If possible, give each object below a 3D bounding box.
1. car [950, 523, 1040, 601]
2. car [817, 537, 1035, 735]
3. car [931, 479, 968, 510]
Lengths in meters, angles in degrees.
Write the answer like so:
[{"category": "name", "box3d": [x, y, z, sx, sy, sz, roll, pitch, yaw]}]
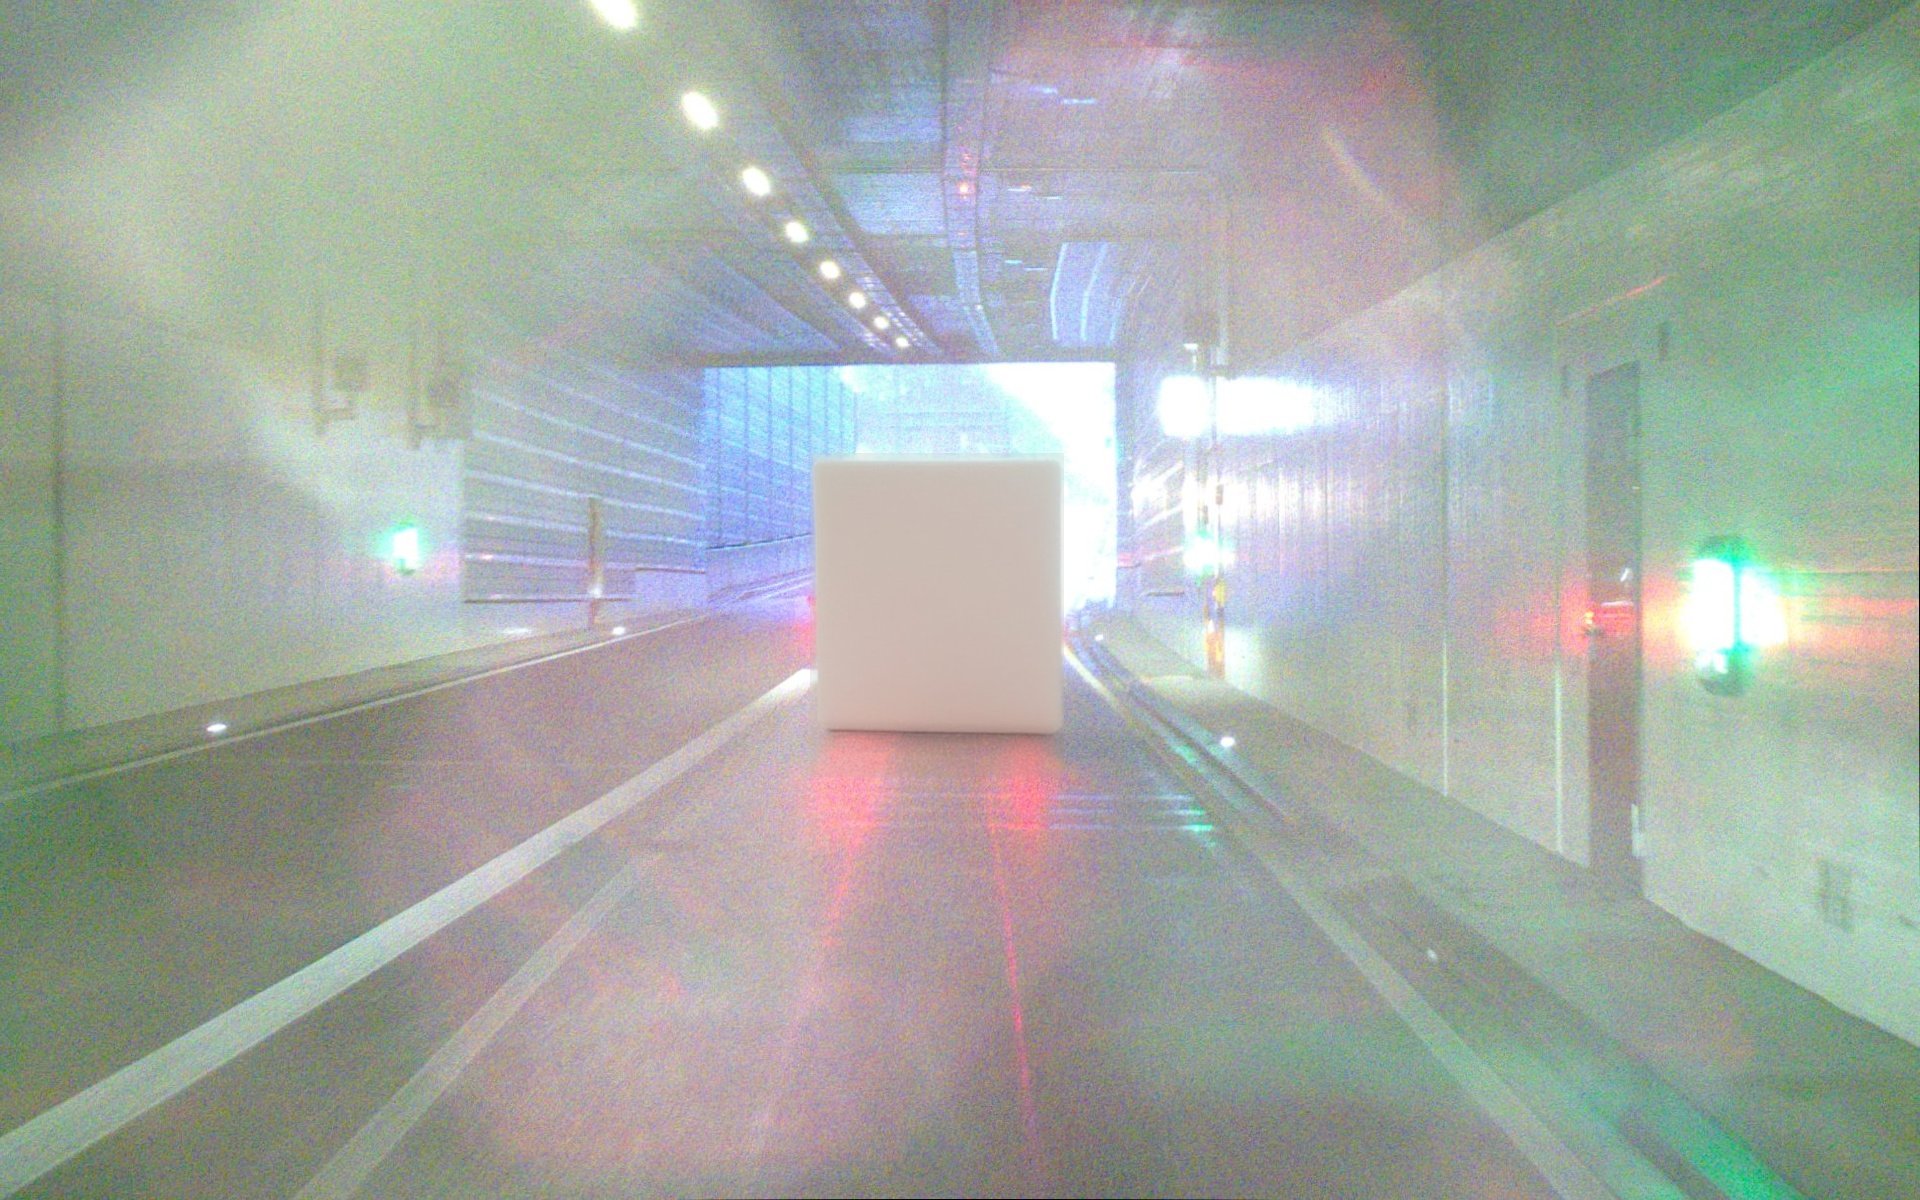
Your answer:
[{"category": "car", "box3d": [0.762, -0.810, 74.769, 1.880, 1.615, 4.000, 1, 0, 1]}, {"category": "car", "box3d": [-0.243, 0.231, 25.936, 1.532, 1.392, 3.434, 0, 1, 0]}, {"category": "car", "box3d": [-0.600, -6.055, 197.803, 1.880, 1.615, 3.999, 1, 0, 3]}]
